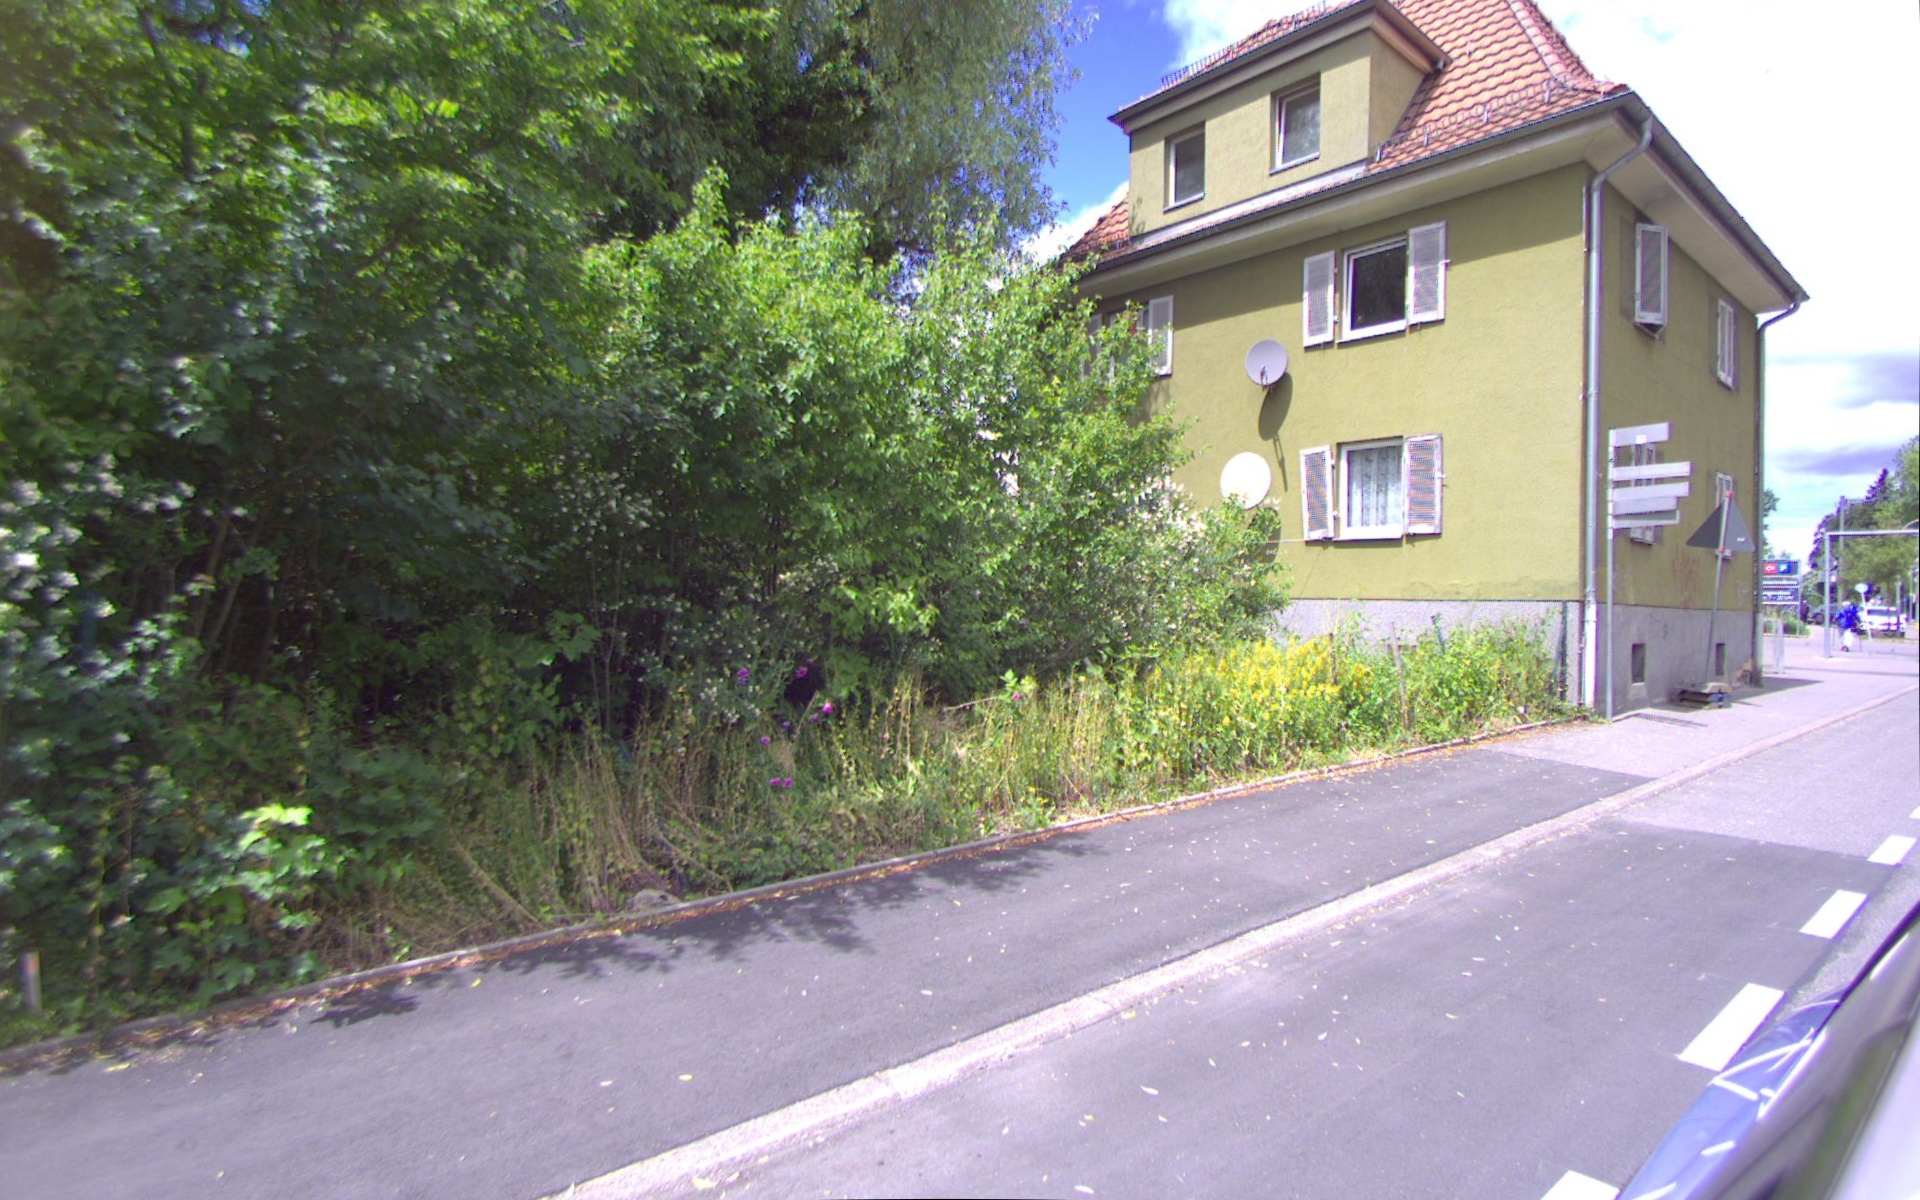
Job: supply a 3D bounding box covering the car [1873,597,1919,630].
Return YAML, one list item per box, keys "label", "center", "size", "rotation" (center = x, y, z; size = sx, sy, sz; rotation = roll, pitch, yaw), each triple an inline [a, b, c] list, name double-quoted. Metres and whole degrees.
- label: "car"
  center: [47.681, 0.654, 51.191]
  size: [3.931, 1.529, 1.797]
  rotation: [0, 2, -42]

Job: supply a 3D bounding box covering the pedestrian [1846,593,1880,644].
- label: "pedestrian"
  center: [28.310, 0.564, 31.740]
  size: [0.726, 1.572, 1.042]
  rotation: [1, 0, 39]

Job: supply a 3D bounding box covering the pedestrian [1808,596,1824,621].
- label: "pedestrian"
  center: [58.949, 0.569, 69.660]
  size: [0.765, 1.683, 0.721]
  rotation: [1, -3, -45]
